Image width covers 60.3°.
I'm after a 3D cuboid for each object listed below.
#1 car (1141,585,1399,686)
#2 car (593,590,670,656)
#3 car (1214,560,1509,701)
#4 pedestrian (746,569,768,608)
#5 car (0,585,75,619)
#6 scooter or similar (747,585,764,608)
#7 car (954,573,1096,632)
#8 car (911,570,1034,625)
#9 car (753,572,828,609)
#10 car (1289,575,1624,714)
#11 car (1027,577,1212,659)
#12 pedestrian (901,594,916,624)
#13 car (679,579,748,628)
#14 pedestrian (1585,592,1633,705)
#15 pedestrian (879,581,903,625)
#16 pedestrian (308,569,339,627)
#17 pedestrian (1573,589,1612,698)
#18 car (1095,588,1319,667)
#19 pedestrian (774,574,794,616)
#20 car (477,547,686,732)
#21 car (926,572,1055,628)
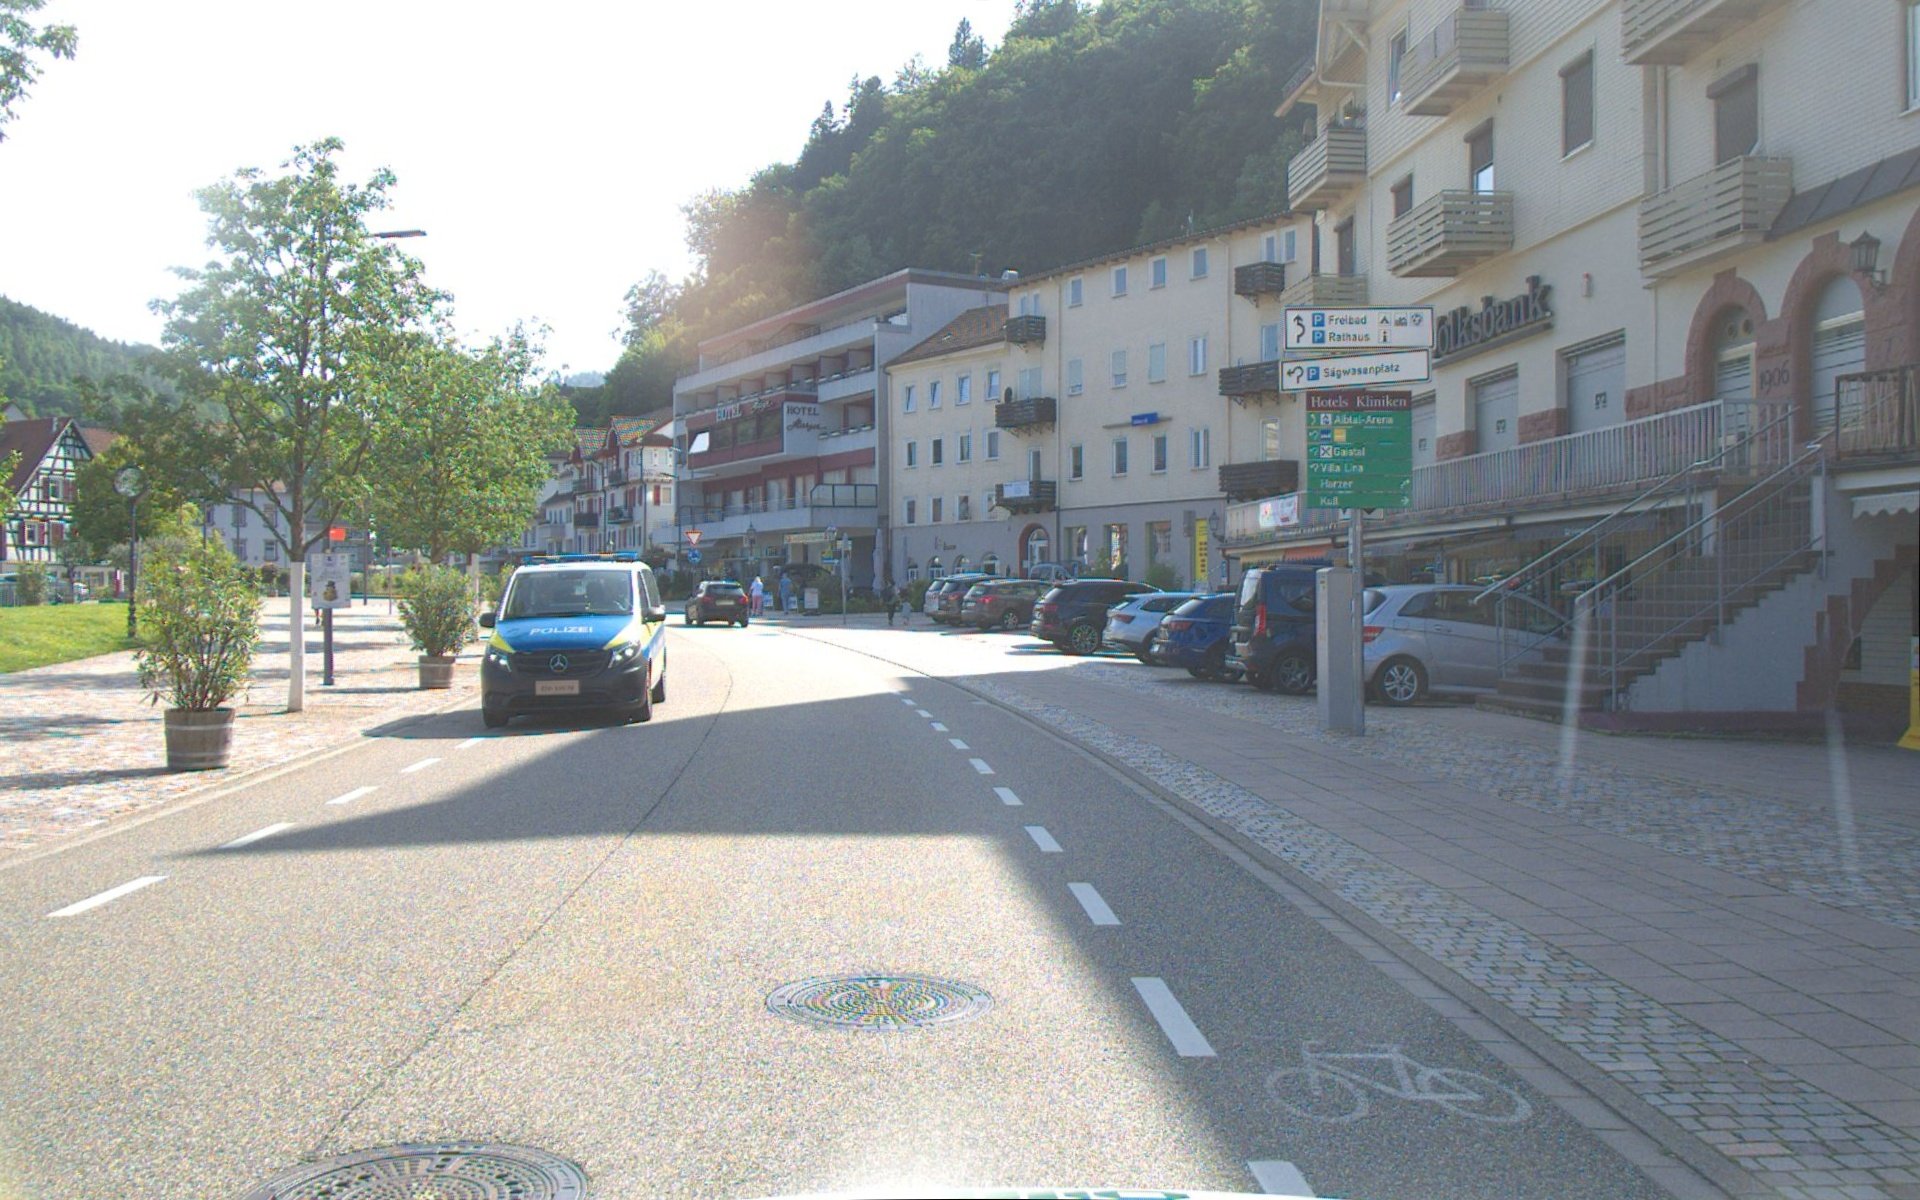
[{"bbox_3d":[5.065,0.568,27.320,3.833,1.486,1.734,2,0,-5],"label":"car"},{"bbox_3d":[-7.633,0.511,38.639,1.598,1.394,4.054,-2,0,-10],"label":"car"},{"bbox_3d":[5.916,0.451,24.626,3.833,1.836,1.856,3,-1,-5],"label":"car"},{"bbox_3d":[-8.556,-0.467,69.564,0.748,1.621,0.622,0,0,-27],"label":"pedestrian"},{"bbox_3d":[-46.407,0.084,82.221,4.133,1.644,1.670,0,0,-34],"label":"car"},{"bbox_3d":[-8.640,-0.157,69.731,0.589,0.967,0.470,0,0,-28],"label":"scooter or similar"},{"bbox_3d":[2.002,0.054,50.496,3.960,1.542,1.758,-3,2,-25],"label":"car"},{"bbox_3d":[0.427,-0.101,56.568,3.813,1.641,1.758,-3,2,-25],"label":"car"},{"bbox_3d":[-7.834,-0.440,76.321,3.124,1.692,1.582,0,0,-26],"label":"car"},{"bbox_3d":[6.494,0.559,21.880,3.833,1.617,1.773,2,0,-5],"label":"car"},{"bbox_3d":[3.704,0.416,38.762,4.004,1.695,1.771,3,0,-5],"label":"car"},{"bbox_3d":[-1.779,0.315,57.055,0.408,1.019,0.531,-2,1,5],"label":"pedestrian"},{"bbox_3d":[-8.651,0.099,57.935,1.701,1.602,3.732,0,2,-20],"label":"car"},{"bbox_3d":[9.886,0.728,25.194,0.449,1.687,0.432,-2,0,-22],"label":"pedestrian"},{"bbox_3d":[-2.383,0.105,57.101,0.722,1.467,0.631,-2,1,-11],"label":"pedestrian"},{"bbox_3d":[-20.227,-0.064,52.556,0.856,1.847,0.685,0,0,-26],"label":"pedestrian"},{"bbox_3d":[9.912,0.679,25.928,0.403,1.687,0.435,-2,0,3],"label":"pedestrian"},{"bbox_3d":[5.001,0.567,33.822,4.269,1.486,1.771,1,-1,-3],"label":"car"},{"bbox_3d":[-7.404,-0.221,69.534,0.661,1.759,0.701,0,0,-27],"label":"pedestrian"},{"bbox_3d":[-4.583,0.435,20.735,1.818,1.987,5.012,-2,0,-5],"label":"car"},{"bbox_3d":[0.996,-0.020,53.878,3.813,1.576,1.758,-3,2,-25],"label":"car"}]
